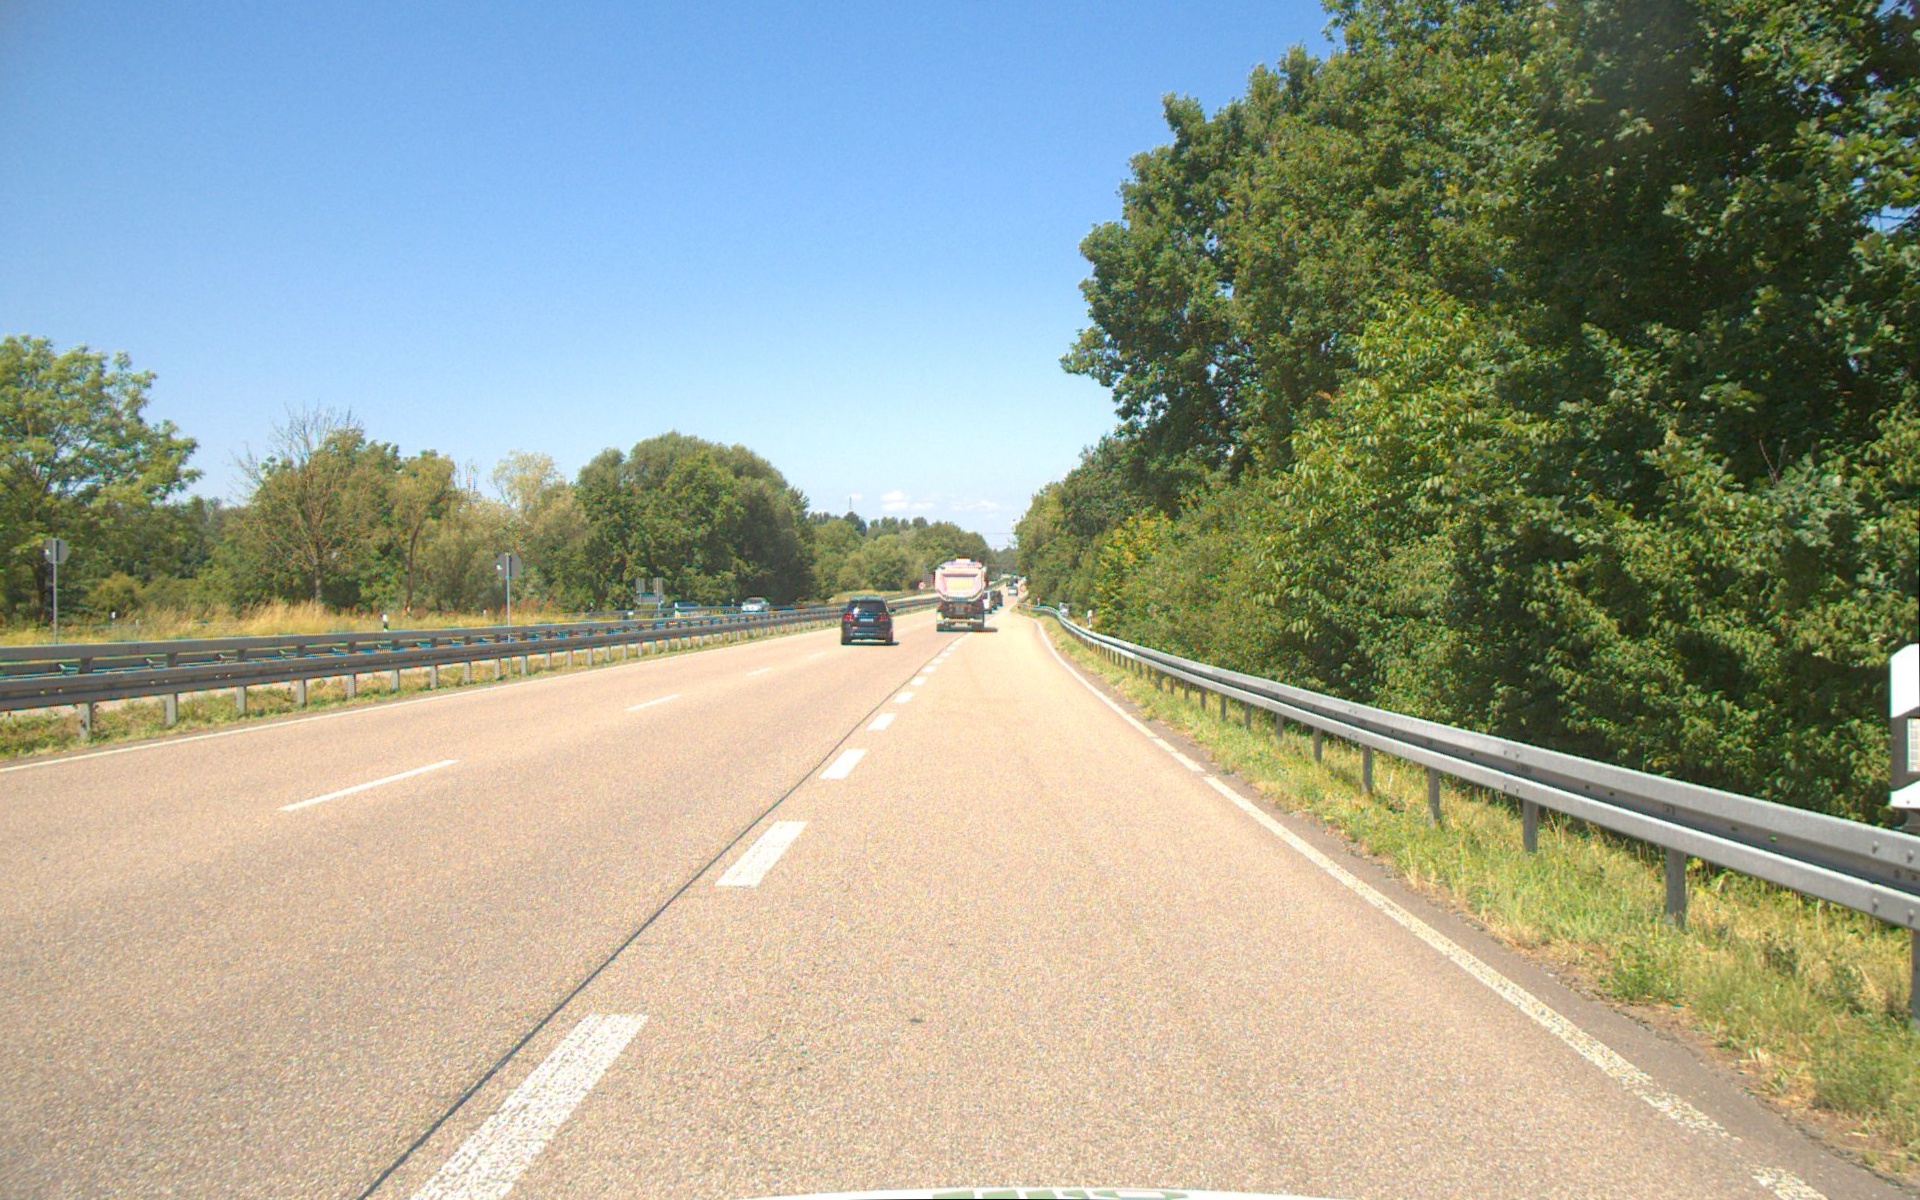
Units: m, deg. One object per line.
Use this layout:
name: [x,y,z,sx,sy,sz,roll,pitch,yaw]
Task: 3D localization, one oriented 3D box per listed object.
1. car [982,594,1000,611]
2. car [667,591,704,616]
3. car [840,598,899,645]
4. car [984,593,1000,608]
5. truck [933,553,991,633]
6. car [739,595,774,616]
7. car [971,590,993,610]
car: [3.176,0.220,168.717,1.819,1.700,4.001,0,-1,2]
car: [-17.307,0.249,104.380,1.880,1.515,3.997,0,-1,-3]
car: [-3.338,0.786,61.831,1.819,1.700,4.001,0,-1,2]
car: [3.686,0.112,190.249,1.819,1.700,4.001,0,-1,2]
truck: [0.218,-0.466,89.452,2.663,3.998,12.375,0,1,2]
car: [-16.440,0.457,134.000,1.687,1.673,4.946,1,0,6]
car: [1.988,0.024,147.005,1.819,1.700,4.001,0,-1,2]
